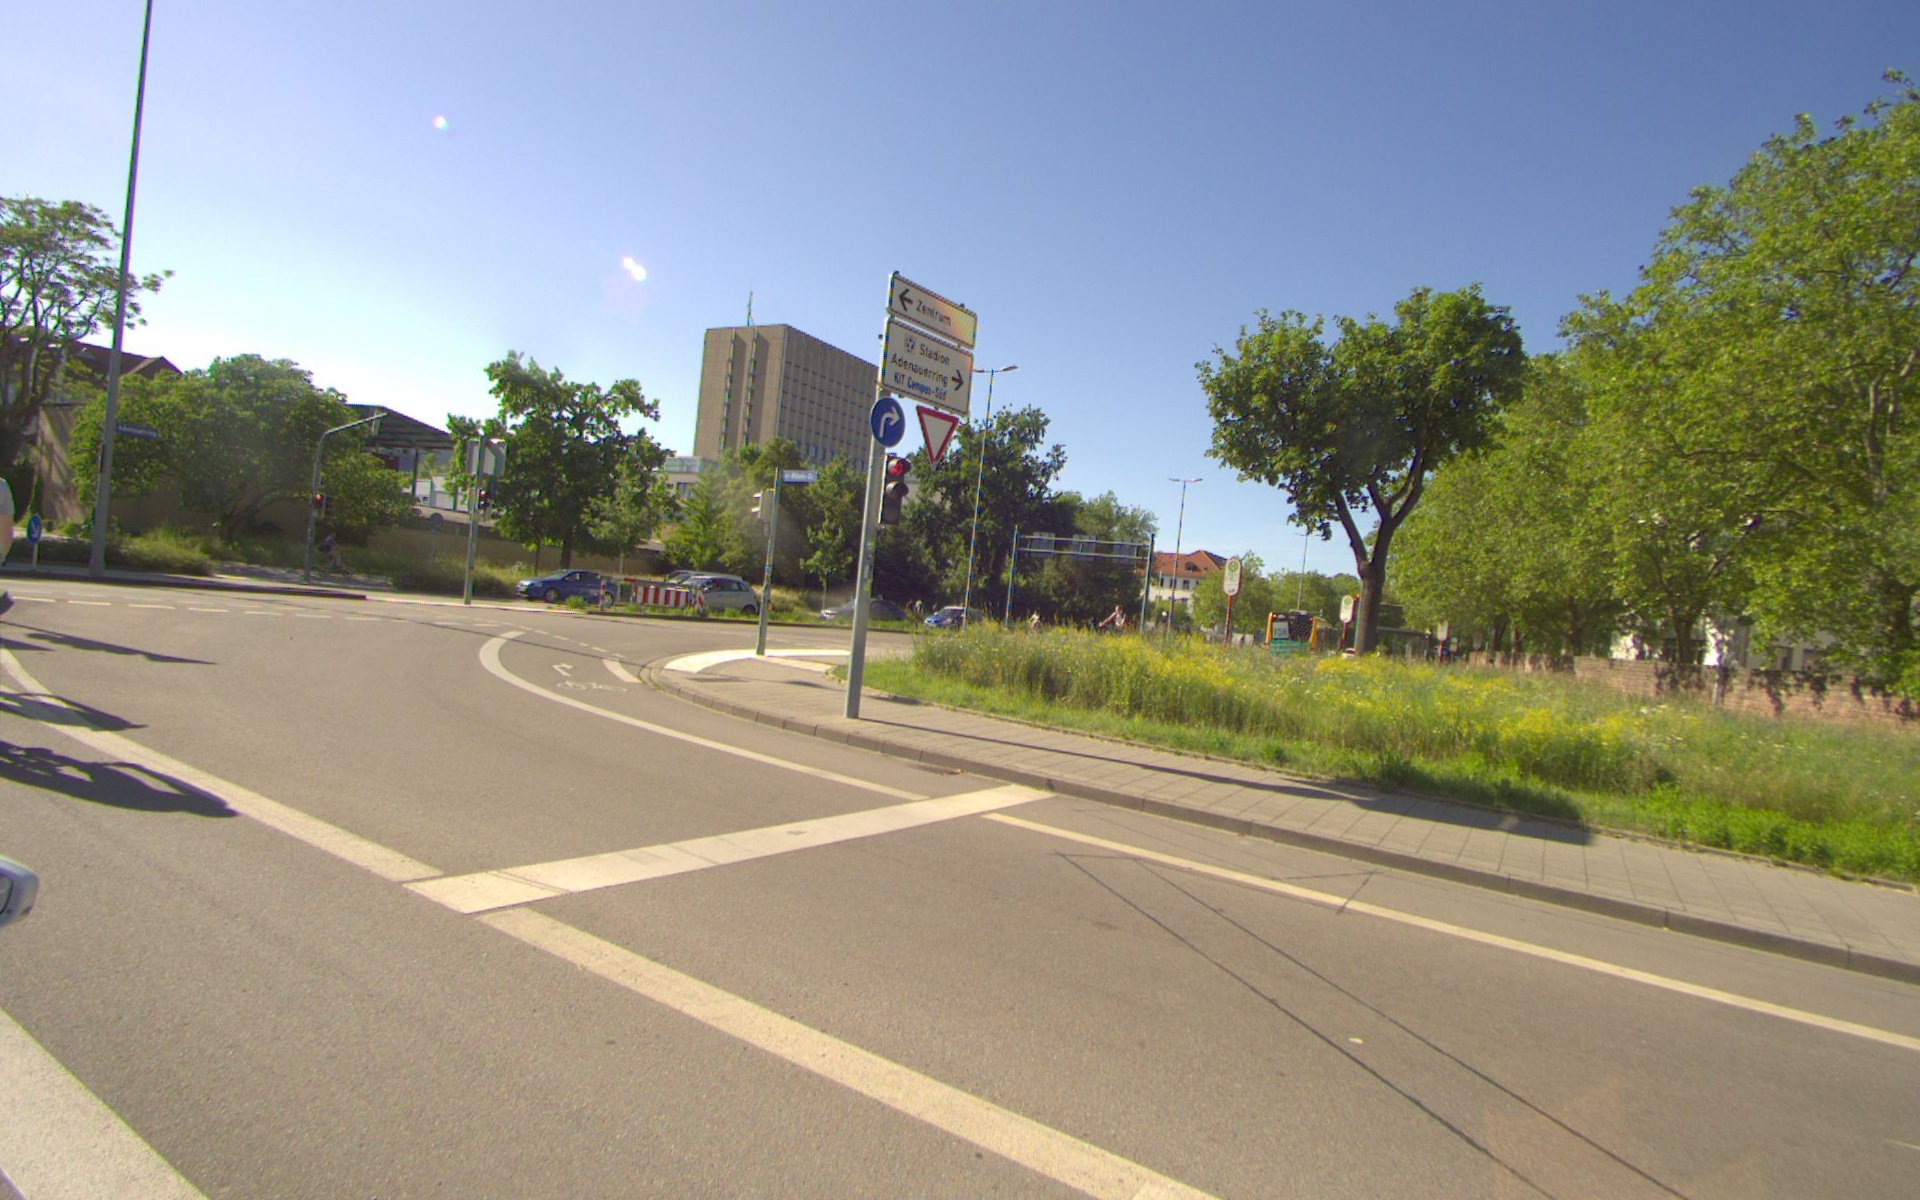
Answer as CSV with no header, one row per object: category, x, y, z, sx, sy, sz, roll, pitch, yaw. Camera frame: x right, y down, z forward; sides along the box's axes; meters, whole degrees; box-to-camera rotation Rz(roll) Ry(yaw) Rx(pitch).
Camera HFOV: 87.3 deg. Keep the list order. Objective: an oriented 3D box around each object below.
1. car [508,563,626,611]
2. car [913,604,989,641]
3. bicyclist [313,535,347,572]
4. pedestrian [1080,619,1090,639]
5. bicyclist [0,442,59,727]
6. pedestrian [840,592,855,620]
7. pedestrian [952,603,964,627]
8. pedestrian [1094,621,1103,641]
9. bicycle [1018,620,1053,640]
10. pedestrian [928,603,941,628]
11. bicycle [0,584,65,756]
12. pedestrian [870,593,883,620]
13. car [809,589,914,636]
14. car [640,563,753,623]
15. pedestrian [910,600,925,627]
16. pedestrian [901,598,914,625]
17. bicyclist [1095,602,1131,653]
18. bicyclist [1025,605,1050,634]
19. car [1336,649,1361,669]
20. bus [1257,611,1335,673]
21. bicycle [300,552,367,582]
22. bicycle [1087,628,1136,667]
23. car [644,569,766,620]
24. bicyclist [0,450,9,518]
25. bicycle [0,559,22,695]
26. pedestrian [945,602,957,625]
car,-16.084,-0.512,41.337,1.717,1.453,4.162,7,0,38
car,-0.383,1.158,50.370,1.758,1.448,3.989,6,0,34
bicyclist,-24.415,-1.802,39.006,0.685,1.333,0.826,9,3,34
pedestrian,11.839,2.747,95.412,0.519,1.801,0.561,7,1,35
bicyclist,-6.220,-0.146,6.088,1.000,1.688,0.752,6,-1,33
pedestrian,-7.466,0.416,66.721,0.519,1.801,0.561,7,1,33
pedestrian,-0.175,1.133,76.701,0.519,1.801,0.561,7,1,35
pedestrian,13.317,2.995,96.738,0.519,1.801,0.561,7,1,35
bicycle,4.688,1.866,62.278,0.778,1.032,2.630,7,0,36
pedestrian,-1.917,1.128,74.984,0.519,1.801,0.561,7,1,35
bicycle,-6.284,0.332,6.089,1.946,0.906,0.741,6,-2,33
pedestrian,-5.804,0.476,69.805,0.519,1.800,0.561,7,1,35
car,-4.301,0.582,44.707,1.968,1.604,4.735,6,0,34
car,-12.304,-0.271,47.328,1.968,2.131,4.885,6,-2,34
pedestrian,-2.995,0.954,70.893,0.702,1.872,0.561,7,1,35
pedestrian,-3.751,0.823,72.154,0.519,1.801,0.561,7,1,35
bicyclist,4.358,0.787,28.597,0.509,1.368,1.002,7,1,32
bicyclist,4.796,1.223,62.259,0.778,1.649,1.315,7,1,37
car,33.537,5.099,86.720,1.669,1.525,3.772,6,0,25
bus,19.225,2.506,57.079,2.747,2.662,10.113,7,-2,26
bicycle,-24.380,-1.279,39.186,0.685,0.942,2.081,9,2,34
bicycle,4.329,1.366,28.655,0.509,1.007,2.056,7,0,32
car,-9.428,-0.168,37.428,1.840,1.426,4.046,6,0,38
bicyclist,-8.129,-0.370,7.778,1.048,1.759,0.647,7,-1,26
bicycle,-8.195,0.091,7.772,1.935,1.014,0.661,6,-1,26
pedestrian,-0.710,1.054,77.253,0.519,1.716,0.561,7,1,35
